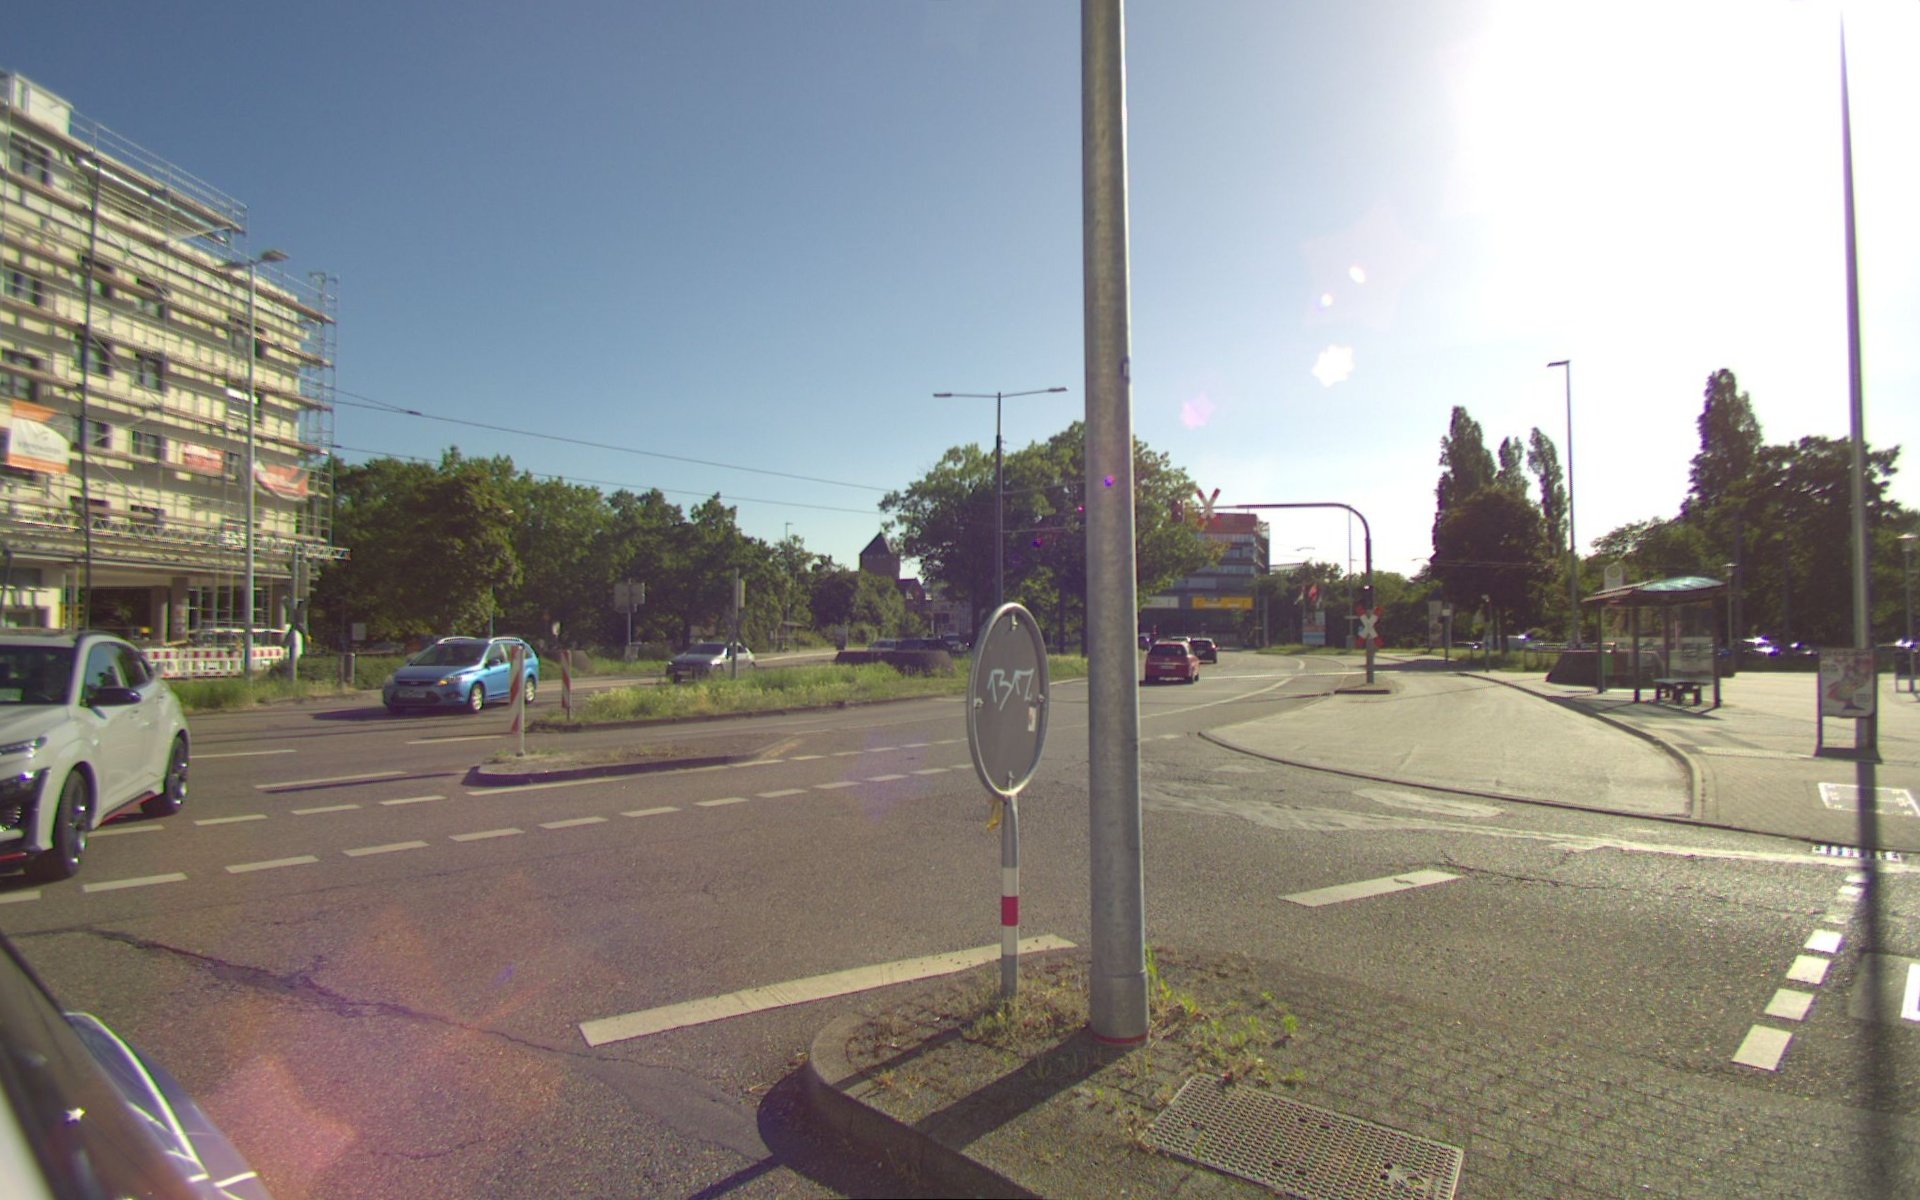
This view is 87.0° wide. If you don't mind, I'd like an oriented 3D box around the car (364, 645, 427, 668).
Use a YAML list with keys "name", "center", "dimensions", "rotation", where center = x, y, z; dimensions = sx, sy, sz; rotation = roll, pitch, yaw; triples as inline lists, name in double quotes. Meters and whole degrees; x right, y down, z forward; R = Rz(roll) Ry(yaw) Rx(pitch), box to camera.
- name: "car"
  center: [-36.715, 3.668, 65.878]
  dimensions: [1.799, 1.405, 3.678]
  rotation: [0, -2, 6]

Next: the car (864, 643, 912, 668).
- name: "car"
  center: [-4.309, 3.333, 61.378]
  dimensions: [1.854, 1.467, 4.468]
  rotation: [-1, -3, 11]

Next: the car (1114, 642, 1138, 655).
- name: "car"
  center: [21.367, 6.266, 130.385]
  dimensions: [1.969, 1.675, 4.491]
  rotation: [0, -3, -6]

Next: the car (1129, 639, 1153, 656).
- name: "car"
  center: [18.805, 4.937, 105.189]
  dimensions: [1.974, 1.675, 4.479]
  rotation: [0, -3, 4]

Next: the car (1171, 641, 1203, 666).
- name: "car"
  center: [15.555, 3.642, 69.543]
  dimensions: [1.979, 1.675, 4.469]
  rotation: [-1, -3, 11]

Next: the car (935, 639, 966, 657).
- name: "car"
  center: [-0.791, 4.135, 87.358]
  dimensions: [1.854, 1.467, 4.468]
  rotation: [-1, -3, 11]

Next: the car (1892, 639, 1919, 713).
- name: "car"
  center: [20.578, 1.562, 20.556]
  dimensions: [1.678, 1.519, 3.557]
  rotation: [-2, -3, 31]

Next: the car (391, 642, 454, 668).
- name: "car"
  center: [-34.558, 3.529, 65.184]
  dimensions: [1.799, 1.596, 3.678]
  rotation: [0, -2, 6]

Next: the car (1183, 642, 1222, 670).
- name: "car"
  center: [13.964, 3.223, 58.540]
  dimensions: [1.979, 1.564, 4.468]
  rotation: [-1, -3, 11]

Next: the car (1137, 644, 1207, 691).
- name: "car"
  center: [7.707, 2.378, 36.558]
  dimensions: [1.984, 1.564, 4.457]
  rotation: [-1, -3, 18]

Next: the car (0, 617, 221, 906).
- name: "car"
  center: [-6.972, 0.951, 7.177]
  dimensions: [1.872, 1.564, 4.499]
  rotation: [1, -3, -24]

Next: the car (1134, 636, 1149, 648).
- name: "car"
  center: [29.022, 6.727, 162.214]
  dimensions: [1.974, 2.029, 3.994]
  rotation: [0, -2, 4]

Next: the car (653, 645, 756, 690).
- name: "car"
  center: [-8.856, 2.304, 35.530]
  dimensions: [1.853, 1.467, 4.470]
  rotation: [-1, -3, 10]

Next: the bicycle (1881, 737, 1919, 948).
- name: "bicycle"
  center: [5.572, 1.165, 4.668]
  dimensions: [1.917, 0.994, 0.830]
  rotation: [0, -2, -4]

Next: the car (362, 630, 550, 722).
- name: "car"
  center: [-10.738, 1.577, 21.972]
  dimensions: [1.847, 1.789, 4.484]
  rotation: [0, -3, 0]
